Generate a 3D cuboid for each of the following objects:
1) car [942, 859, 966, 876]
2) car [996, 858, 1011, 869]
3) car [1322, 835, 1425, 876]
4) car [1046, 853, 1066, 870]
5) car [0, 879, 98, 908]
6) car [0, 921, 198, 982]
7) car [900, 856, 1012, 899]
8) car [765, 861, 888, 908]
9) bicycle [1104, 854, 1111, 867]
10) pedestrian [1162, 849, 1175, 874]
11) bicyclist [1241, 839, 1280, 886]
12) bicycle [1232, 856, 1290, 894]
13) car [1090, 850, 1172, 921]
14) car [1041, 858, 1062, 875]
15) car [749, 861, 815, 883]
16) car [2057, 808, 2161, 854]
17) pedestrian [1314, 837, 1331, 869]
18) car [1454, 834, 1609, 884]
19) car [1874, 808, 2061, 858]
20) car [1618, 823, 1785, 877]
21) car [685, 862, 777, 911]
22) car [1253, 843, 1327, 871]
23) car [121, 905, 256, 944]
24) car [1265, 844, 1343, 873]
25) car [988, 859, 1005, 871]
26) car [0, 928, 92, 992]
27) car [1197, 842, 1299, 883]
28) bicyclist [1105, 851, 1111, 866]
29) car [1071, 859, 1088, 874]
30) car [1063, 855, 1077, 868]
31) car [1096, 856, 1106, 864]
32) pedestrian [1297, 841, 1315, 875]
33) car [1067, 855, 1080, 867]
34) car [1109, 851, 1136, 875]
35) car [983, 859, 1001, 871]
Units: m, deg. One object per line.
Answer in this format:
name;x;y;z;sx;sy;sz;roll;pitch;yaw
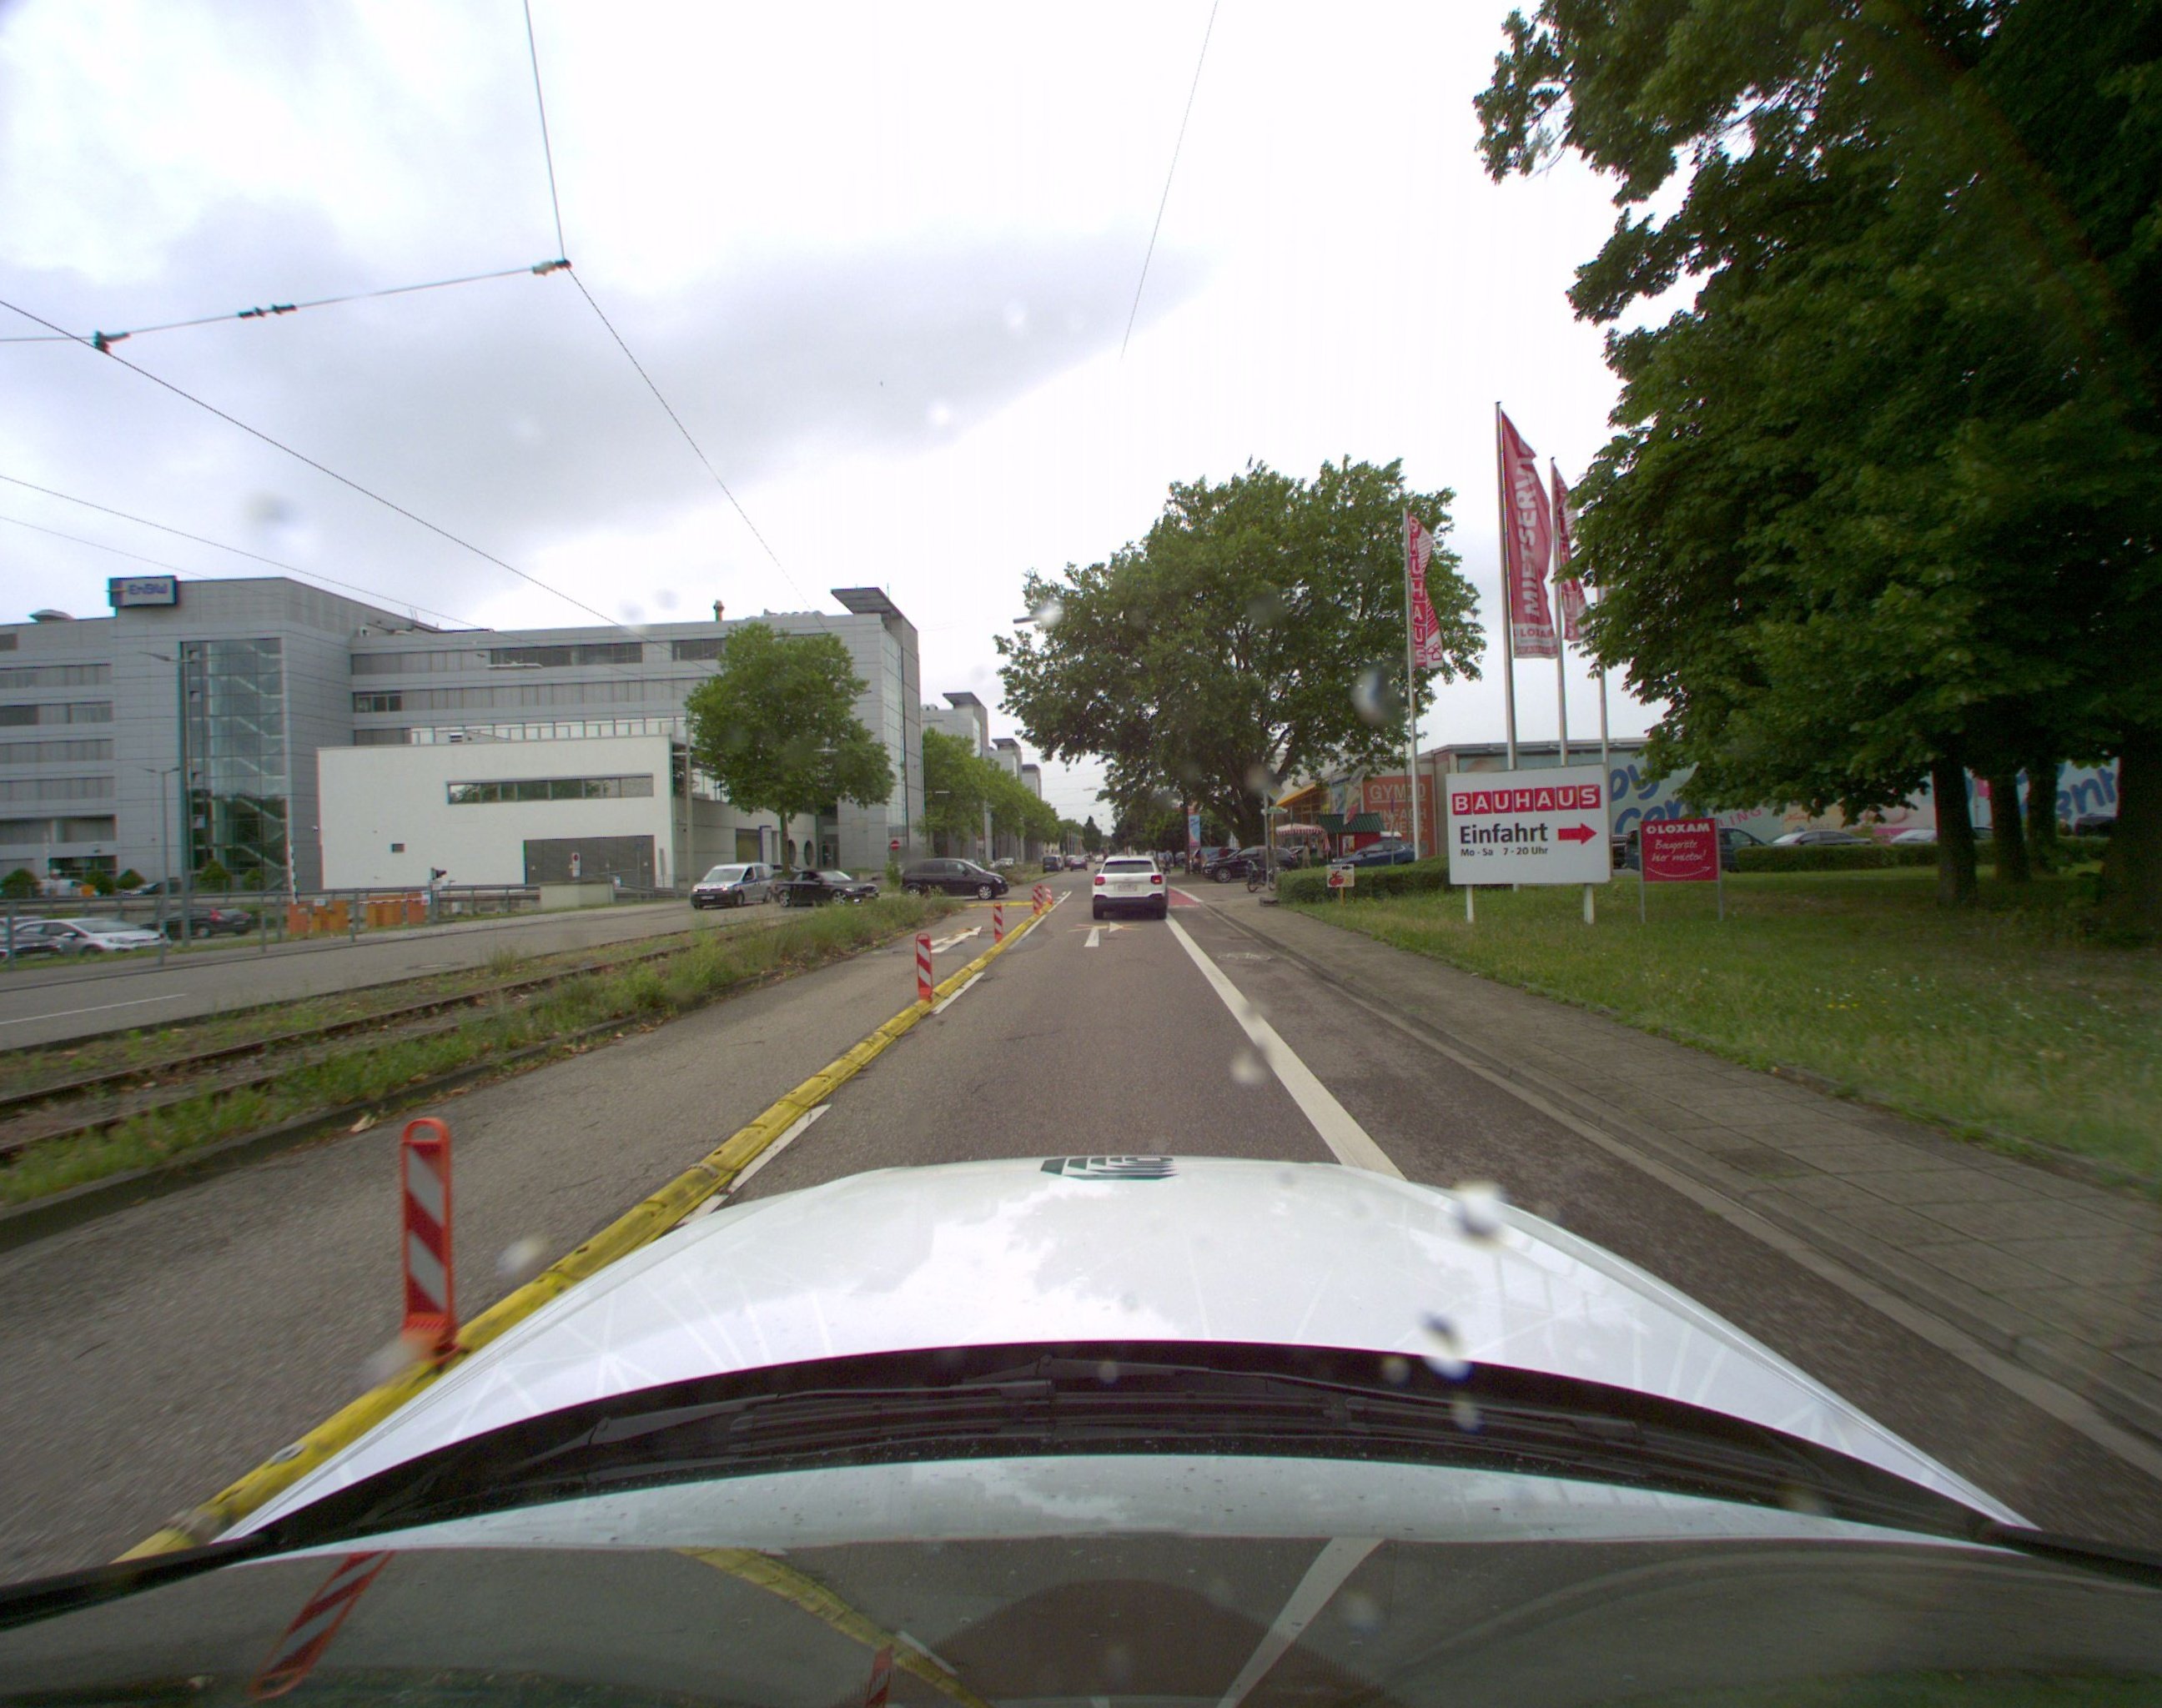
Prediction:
car;-14.114;1.474;90.507;1.870;1.632;4.206;-3;0;1
car;-12.292;1.485;129.772;1.870;1.632;4.206;-3;0;1
car;13.582;0.079;38.000;4.187;1.677;1.998;-3;0;9
car;-2.792;0.861;91.241;1.870;1.763;4.001;-3;0;1
car;-84.409;3.173;66.660;1.985;2.013;4.654;-3;0;3
car;-30.306;2.989;25.118;3.975;1.485;1.912;-3;0;-1
car;-4.643;0.871;30.677;3.868;1.556;1.826;0;-1;1
car;-9.417;1.127;30.111;4.079;1.475;1.836;-4;-2;24
bicycle;3.126;0.738;95.128;0.668;1.394;2.166;-1;0;0
pedestrian;6.206;0.524;57.842;0.759;1.705;0.681;-3;0;-3
bicyclist;6.451;0.288;29.185;0.808;1.630;1.243;-3;-1;40
bicycle;6.473;0.745;29.185;0.808;1.212;2.700;-3;0;40
car;1.187;0.725;20.781;1.818;1.600;3.775;-1;0;-1
car;-3.081;1.262;85.425;1.870;1.632;4.001;-3;0;1
car;-23.314;1.389;63.655;4.498;1.670;1.825;0;-1;-1
car;39.226;-0.885;29.757;4.535;1.572;2.074;-3;0;2
pedestrian;13.114;-0.056;44.302;0.677;1.705;0.598;-3;0;0
car;16.449;0.173;29.933;4.535;1.572;1.994;-3;0;2
car;32.681;-0.751;30.143;4.535;1.572;2.074;-3;0;2
car;22.862;-0.162;30.156;4.535;1.790;2.075;-2;1;2
car;-14.189;1.259;33.280;1.814;1.783;4.424;-2;0;-1
car;13.219;0.185;51.756;4.200;1.551;1.789;-3;0;-1
car;-40.713;3.198;37.218;3.975;1.485;1.912;-3;0;-1
car;13.557;0.267;49.598;4.200;1.551;1.789;-3;0;-1
car;-12.453;1.586;119.849;1.870;1.632;4.206;-3;0;1
car;-30.274;2.954;22.294;3.975;1.485;1.912;-3;0;-1
car;7.604;0.386;37.488;4.297;1.677;1.994;-3;0;2
bicyclist;3.126;0.536;95.237;0.669;1.815;0.759;-1;0;-1
car;-0.143;1.311;85.122;1.679;1.513;3.705;-1;0;-1
car;-1.554;1.085;119.632;1.870;1.763;4.001;-3;0;1
car;3.697;1.075;150.704;1.790;1.513;3.705;-1;0;-1
pedestrian;11.500;0.200;41.582;0.677;1.705;0.598;-3;0;0
car;-1.156;1.061;124.840;1.870;1.763;4.001;-3;0;1
car;3.077;0.647;61.532;1.870;1.632;4.001;-3;0;1
car;-12.538;1.546;114.891;1.870;1.632;4.206;-3;0;1
